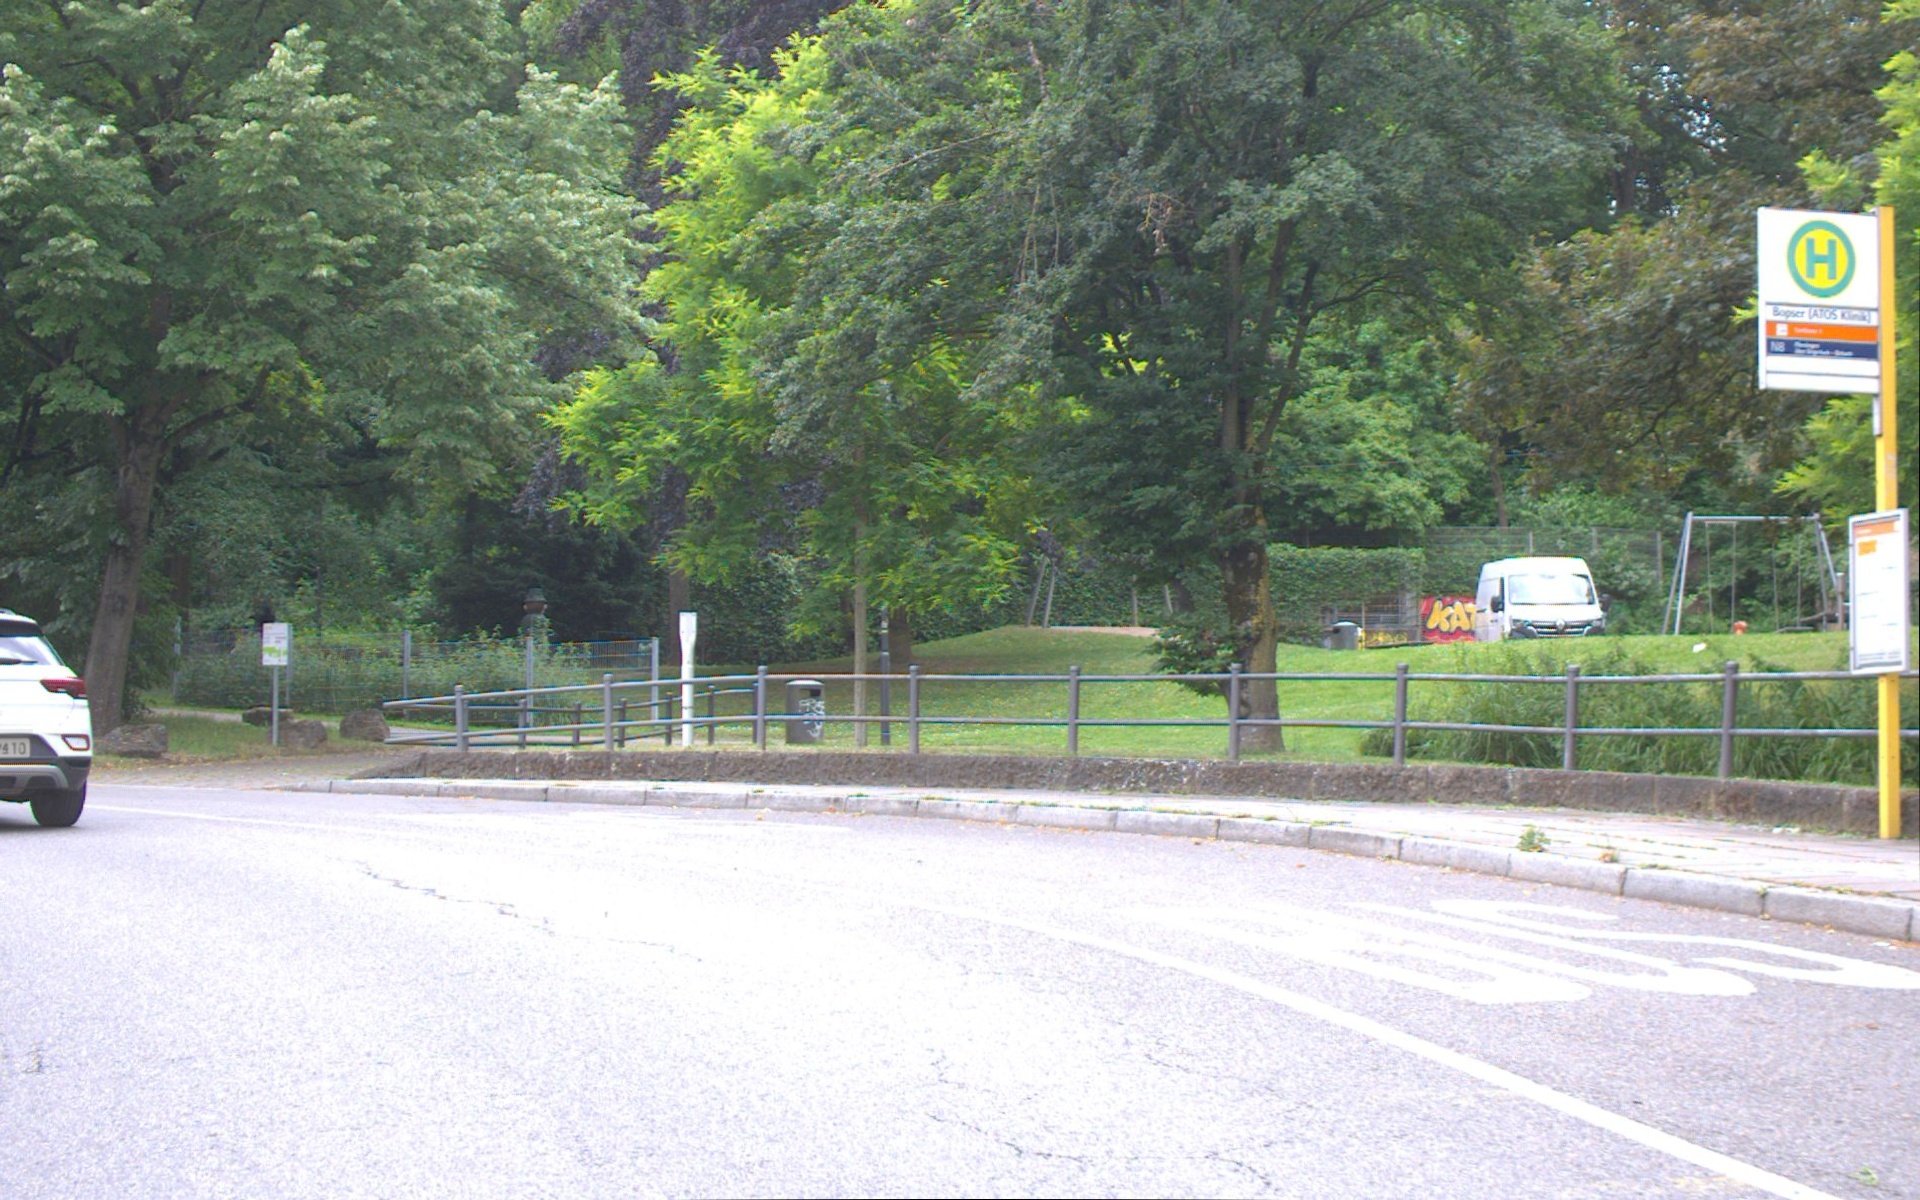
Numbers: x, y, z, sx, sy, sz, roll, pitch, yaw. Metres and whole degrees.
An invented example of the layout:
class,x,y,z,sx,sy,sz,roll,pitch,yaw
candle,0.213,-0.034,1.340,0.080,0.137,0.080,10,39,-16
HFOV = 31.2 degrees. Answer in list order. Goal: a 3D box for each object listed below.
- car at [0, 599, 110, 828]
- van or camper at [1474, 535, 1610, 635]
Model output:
class,x,y,z,sx,sy,sz,roll,pitch,yaw
car,-7.711,0.775,24.839,1.865,1.551,3.894,0,0,-33
van or camper,12.094,-0.321,71.779,2.304,2.007,5.440,0,0,4
